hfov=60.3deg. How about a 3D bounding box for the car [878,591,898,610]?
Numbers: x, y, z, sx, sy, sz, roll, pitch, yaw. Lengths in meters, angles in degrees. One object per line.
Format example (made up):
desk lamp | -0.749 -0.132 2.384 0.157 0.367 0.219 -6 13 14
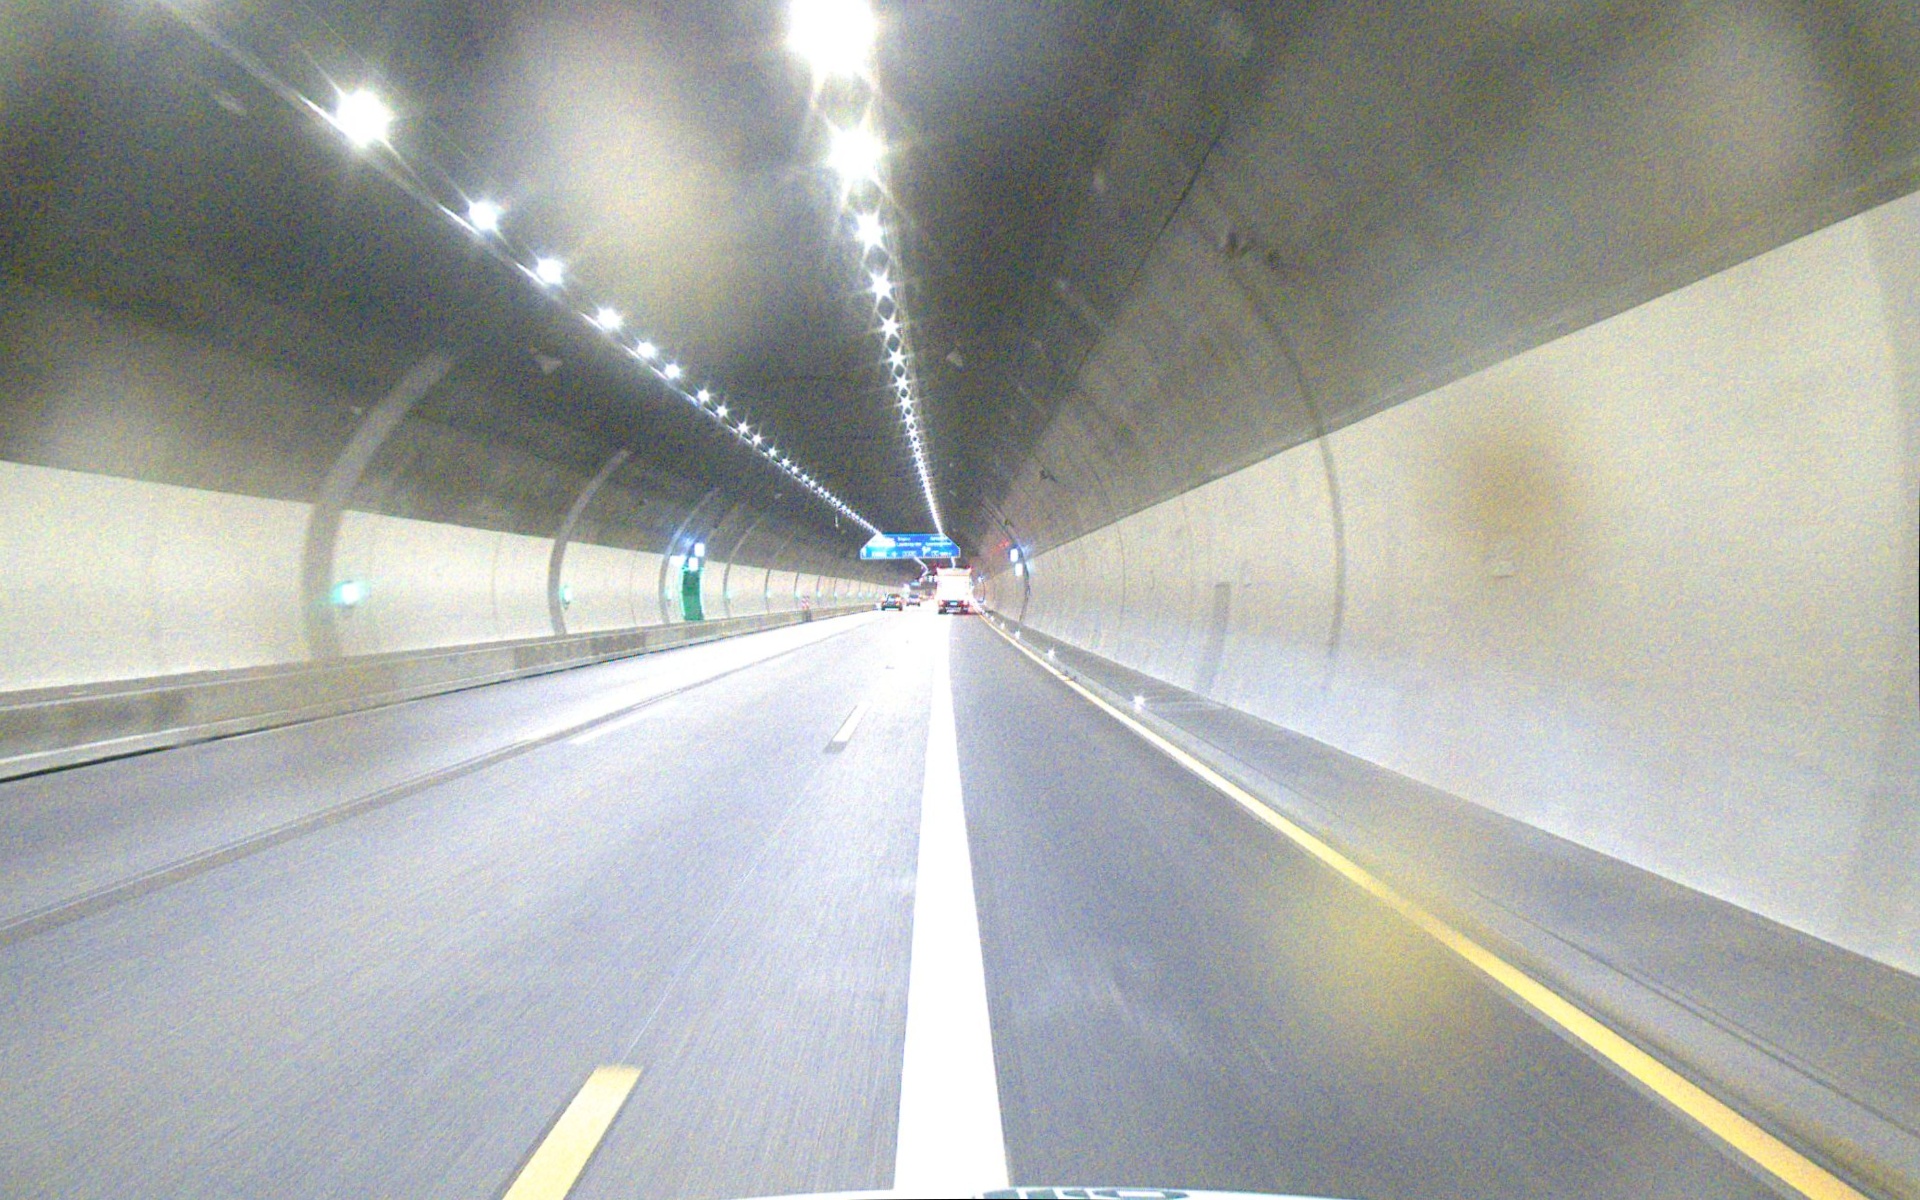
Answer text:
car | -6.445 0.017 148.674 1.776 1.646 3.998 1 1 -2

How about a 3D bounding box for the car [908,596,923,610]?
car | -5.501 0.361 204.511 1.777 1.546 3.998 1 2 -4

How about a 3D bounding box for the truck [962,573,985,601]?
truck | 2.004 -1.909 249.646 2.863 4.118 14.025 -1 0 -2

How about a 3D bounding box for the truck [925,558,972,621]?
truck | -1.067 -0.864 134.927 3.212 4.731 17.279 -1 0 -2
